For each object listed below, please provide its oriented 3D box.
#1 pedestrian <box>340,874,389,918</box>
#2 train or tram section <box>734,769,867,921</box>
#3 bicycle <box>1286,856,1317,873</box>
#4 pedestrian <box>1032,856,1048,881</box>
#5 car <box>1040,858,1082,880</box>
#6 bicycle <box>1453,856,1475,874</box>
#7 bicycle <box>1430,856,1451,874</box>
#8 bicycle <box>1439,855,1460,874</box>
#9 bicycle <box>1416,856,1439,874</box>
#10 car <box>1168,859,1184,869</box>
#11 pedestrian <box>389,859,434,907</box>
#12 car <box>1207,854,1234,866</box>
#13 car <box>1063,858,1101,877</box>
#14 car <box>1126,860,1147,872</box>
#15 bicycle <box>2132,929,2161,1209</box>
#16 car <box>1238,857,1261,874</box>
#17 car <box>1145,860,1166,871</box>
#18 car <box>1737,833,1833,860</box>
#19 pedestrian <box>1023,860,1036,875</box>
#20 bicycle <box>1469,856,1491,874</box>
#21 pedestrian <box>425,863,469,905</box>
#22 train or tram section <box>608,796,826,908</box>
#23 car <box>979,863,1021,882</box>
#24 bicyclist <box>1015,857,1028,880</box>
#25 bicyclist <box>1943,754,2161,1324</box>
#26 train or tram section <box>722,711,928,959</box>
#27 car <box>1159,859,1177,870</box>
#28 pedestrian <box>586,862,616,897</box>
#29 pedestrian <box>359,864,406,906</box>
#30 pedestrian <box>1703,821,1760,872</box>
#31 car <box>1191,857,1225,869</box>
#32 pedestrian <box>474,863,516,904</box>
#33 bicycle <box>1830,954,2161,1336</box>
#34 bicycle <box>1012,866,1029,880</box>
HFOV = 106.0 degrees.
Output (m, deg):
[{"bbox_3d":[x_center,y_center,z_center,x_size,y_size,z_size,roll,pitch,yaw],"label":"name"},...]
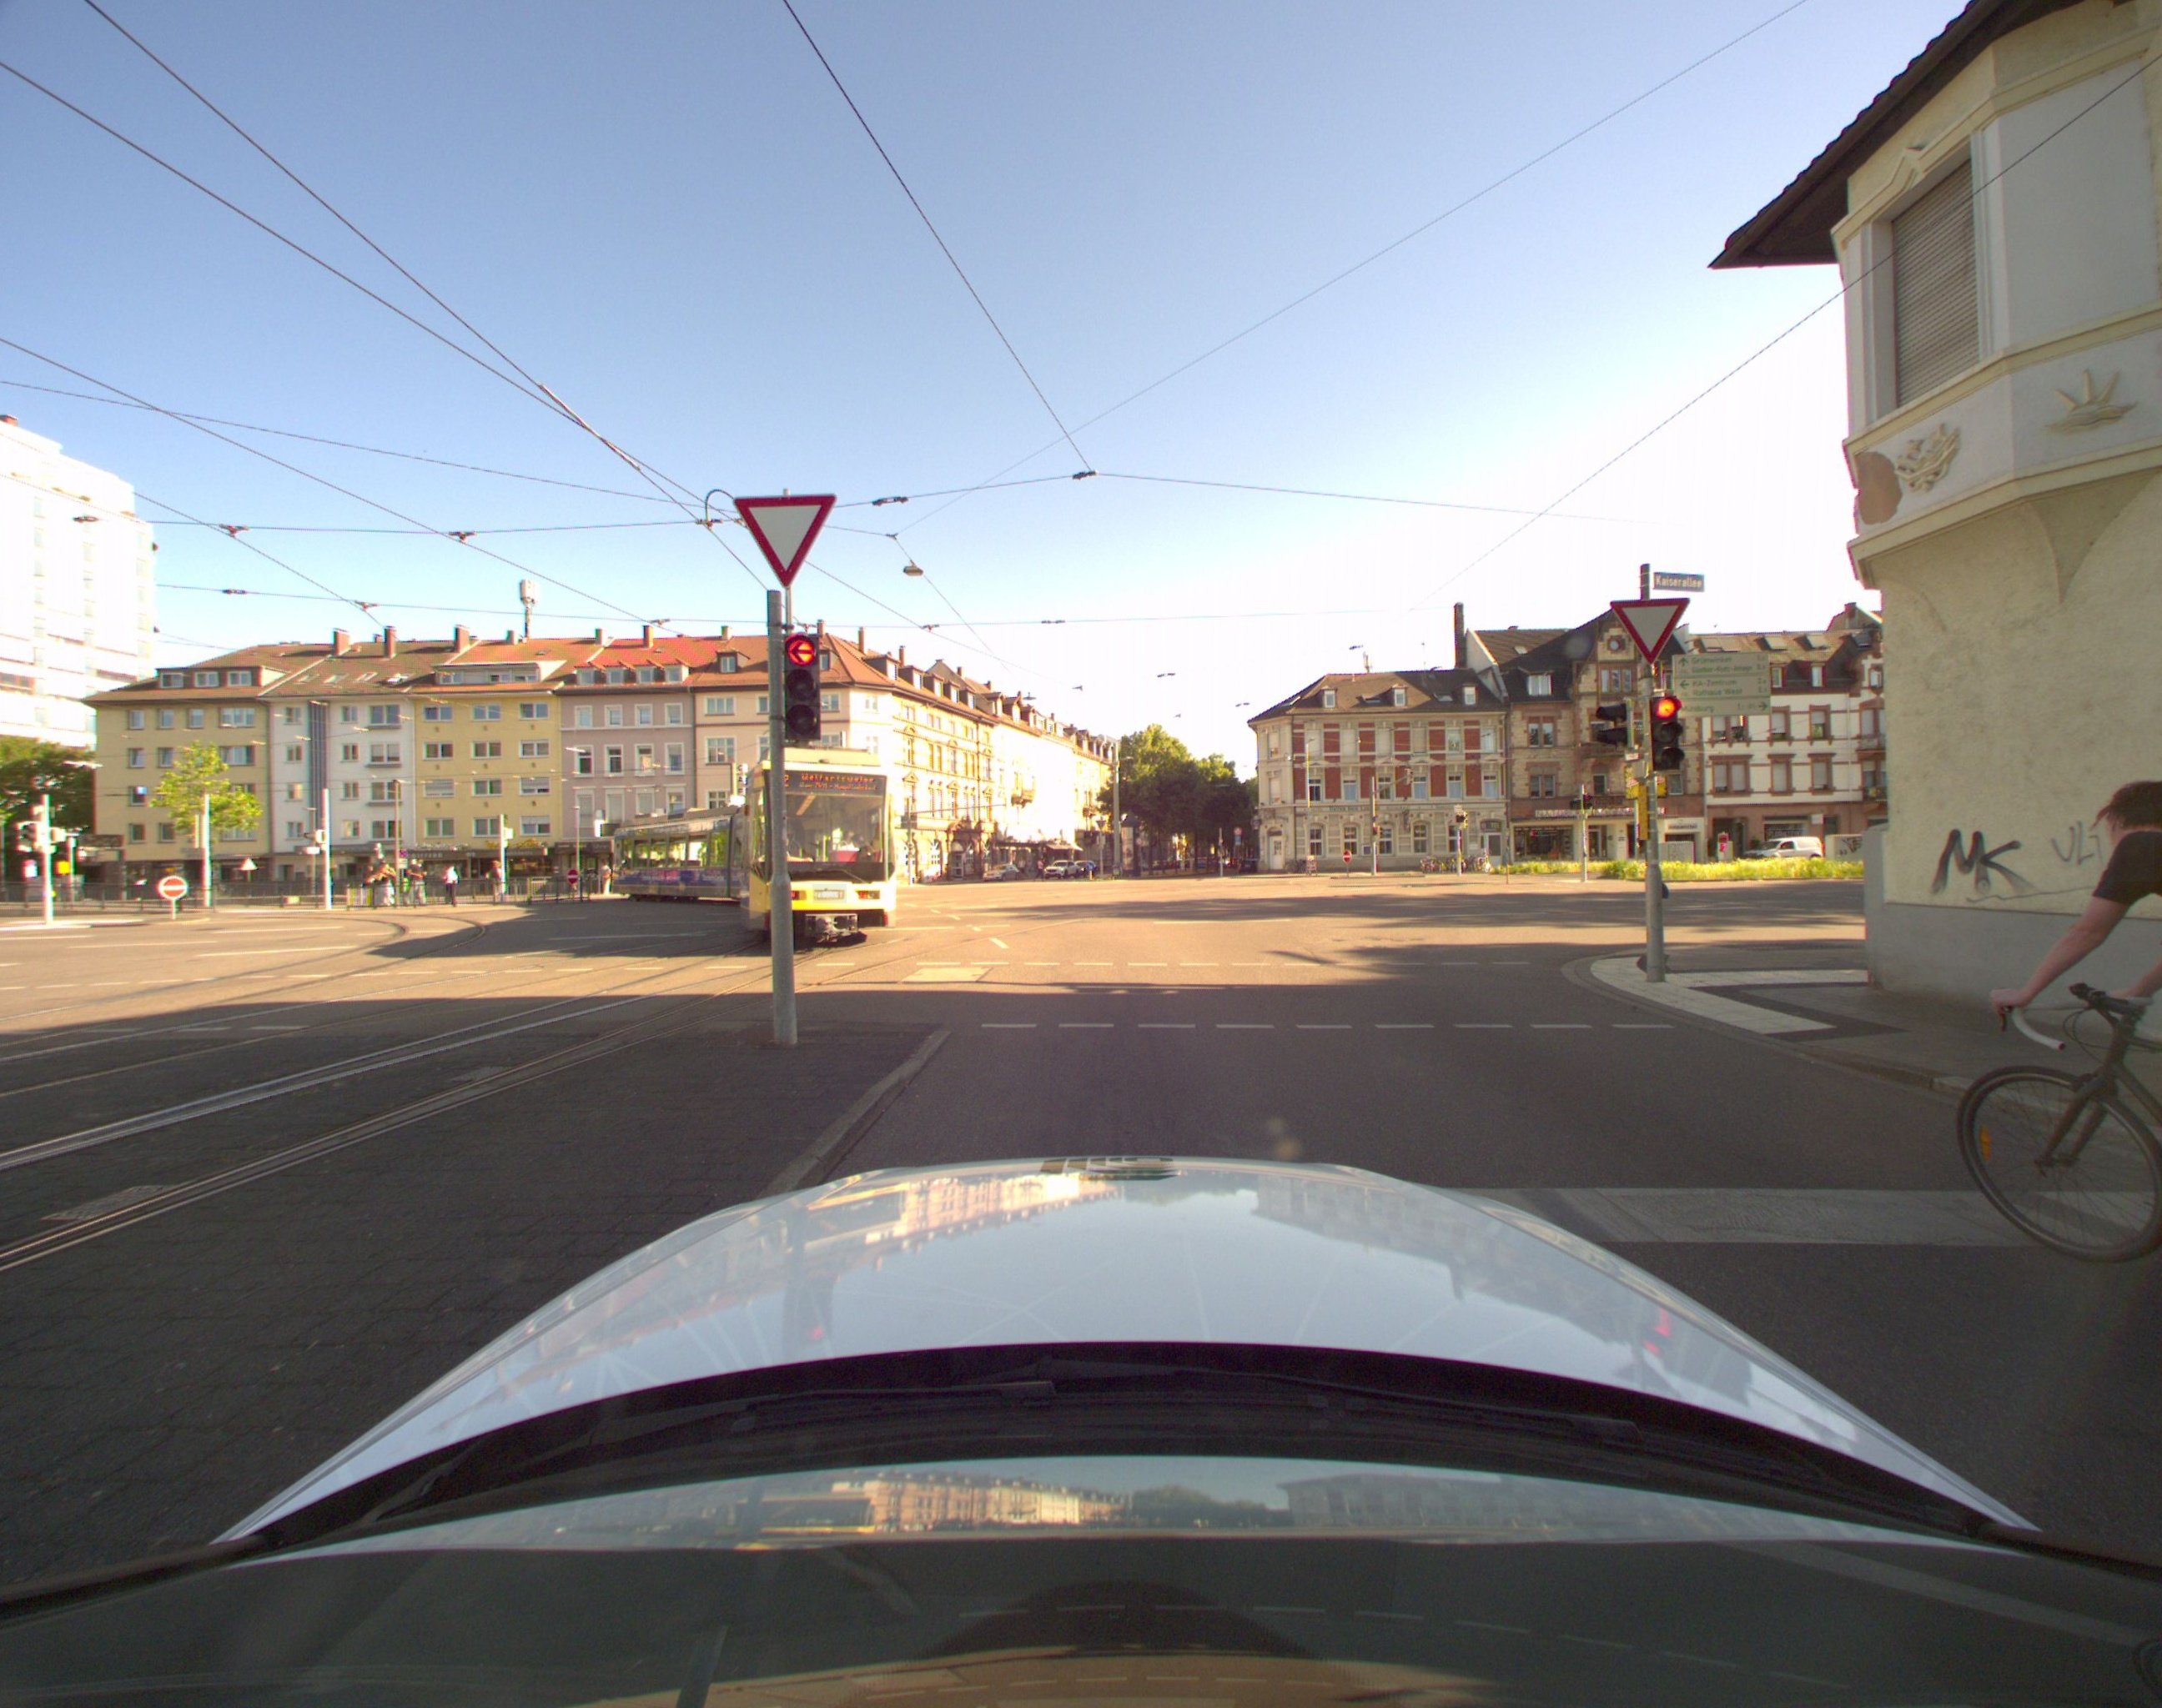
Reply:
[{"bbox_3d":[-27.107,1.571,30.817,0.937,1.598,1.008,-1,0,-5],"label":"pedestrian"},{"bbox_3d":[-8.230,-0.200,23.100,2.828,3.499,8.394,-1,0,-24],"label":"train or tram section"},{"bbox_3d":[15.506,0.727,57.172,2.081,1.124,0.366,0,-1,-3],"label":"bicycle"},{"bbox_3d":[-2.922,1.044,57.908,1.046,1.744,0.806,-1,0,-11],"label":"pedestrian"},{"bbox_3d":[-1.600,1.255,67.523,1.977,1.684,4.413,-2,0,20],"label":"car"},{"bbox_3d":[24.784,0.715,52.670,0.615,1.143,2.178,-2,0,7],"label":"bicycle"},{"bbox_3d":[23.284,0.696,52.818,0.615,1.143,2.178,-2,0,7],"label":"bicycle"},{"bbox_3d":[23.863,0.677,52.766,0.615,1.143,2.178,-2,0,7],"label":"bicycle"},{"bbox_3d":[22.506,0.706,52.968,0.802,1.143,2.178,-2,0,7],"label":"bicycle"},{"bbox_3d":[15.849,1.723,136.149,1.750,1.549,4.411,-2,0,18],"label":"car"},{"bbox_3d":[-25.625,1.097,31.204,0.939,1.775,1.006,-1,0,-11],"label":"pedestrian"},{"bbox_3d":[22.850,0.973,133.284,3.948,1.706,2.013,-2,0,32],"label":"car"},{"bbox_3d":[0.126,1.221,74.000,1.977,1.612,4.413,-2,0,20],"label":"car"},{"bbox_3d":[7.548,1.671,110.964,1.978,1.486,4.017,-1,0,16],"label":"car"},{"bbox_3d":[4.532,0.863,2.429,0.516,1.116,1.815,-2,0,4],"label":"bicycle"},{"bbox_3d":[17.026,1.144,82.198,1.978,1.585,4.017,-2,0,16],"label":"car"},{"bbox_3d":[11.271,1.734,122.583,1.977,1.612,4.413,-2,0,20],"label":"car"},{"bbox_3d":[45.364,-0.475,52.532,4.317,1.640,2.152,-2,0,1],"label":"car"},{"bbox_3d":[-5.152,1.368,81.922,0.921,1.535,1.142,-1,0,16],"label":"pedestrian"},{"bbox_3d":[25.761,0.694,52.580,0.606,1.136,2.139,-2,0,7],"label":"bicycle"},{"bbox_3d":[-25.301,1.186,32.504,0.998,1.598,0.946,-2,0,18],"label":"pedestrian"},{"bbox_3d":[-14.008,0.019,30.467,11.876,3.500,2.796,-1,0,42],"label":"train or tram section"},{"bbox_3d":[-6.675,1.525,67.367,1.883,1.455,4.020,-2,0,20],"label":"car"},{"bbox_3d":[-4.805,1.135,65.324,0.674,1.820,1.075,-2,0,14],"label":"bicyclist"},{"bbox_3d":[3.597,0.566,2.577,0.559,1.754,1.102,-2,0,4],"label":"bicyclist"},{"bbox_3d":[-5.098,-0.277,15.699,2.825,3.499,7.906,-1,0,-21],"label":"train or tram section"},{"bbox_3d":[13.931,1.703,130.315,1.822,1.552,4.412,-2,0,19],"label":"car"},{"bbox_3d":[-24.944,1.307,42.354,0.935,1.756,0.935,-2,0,1],"label":"pedestrian"},{"bbox_3d":[-27.216,1.189,31.750,0.937,1.598,1.007,-1,0,-6],"label":"pedestrian"},{"bbox_3d":[27.116,-0.301,33.980,1.314,2.044,1.307,-2,0,1],"label":"pedestrian"},{"bbox_3d":[17.962,1.312,115.184,4.335,1.612,2.012,-2,0,28],"label":"car"},{"bbox_3d":[-23.237,1.169,32.293,0.997,1.598,0.947,-2,0,24],"label":"pedestrian"},{"bbox_3d":[3.612,0.954,2.654,0.642,1.010,1.930,-2,0,4],"label":"bicycle"},{"bbox_3d":[-4.809,1.515,65.281,0.675,1.066,2.133,-2,0,14],"label":"bicycle"}]
